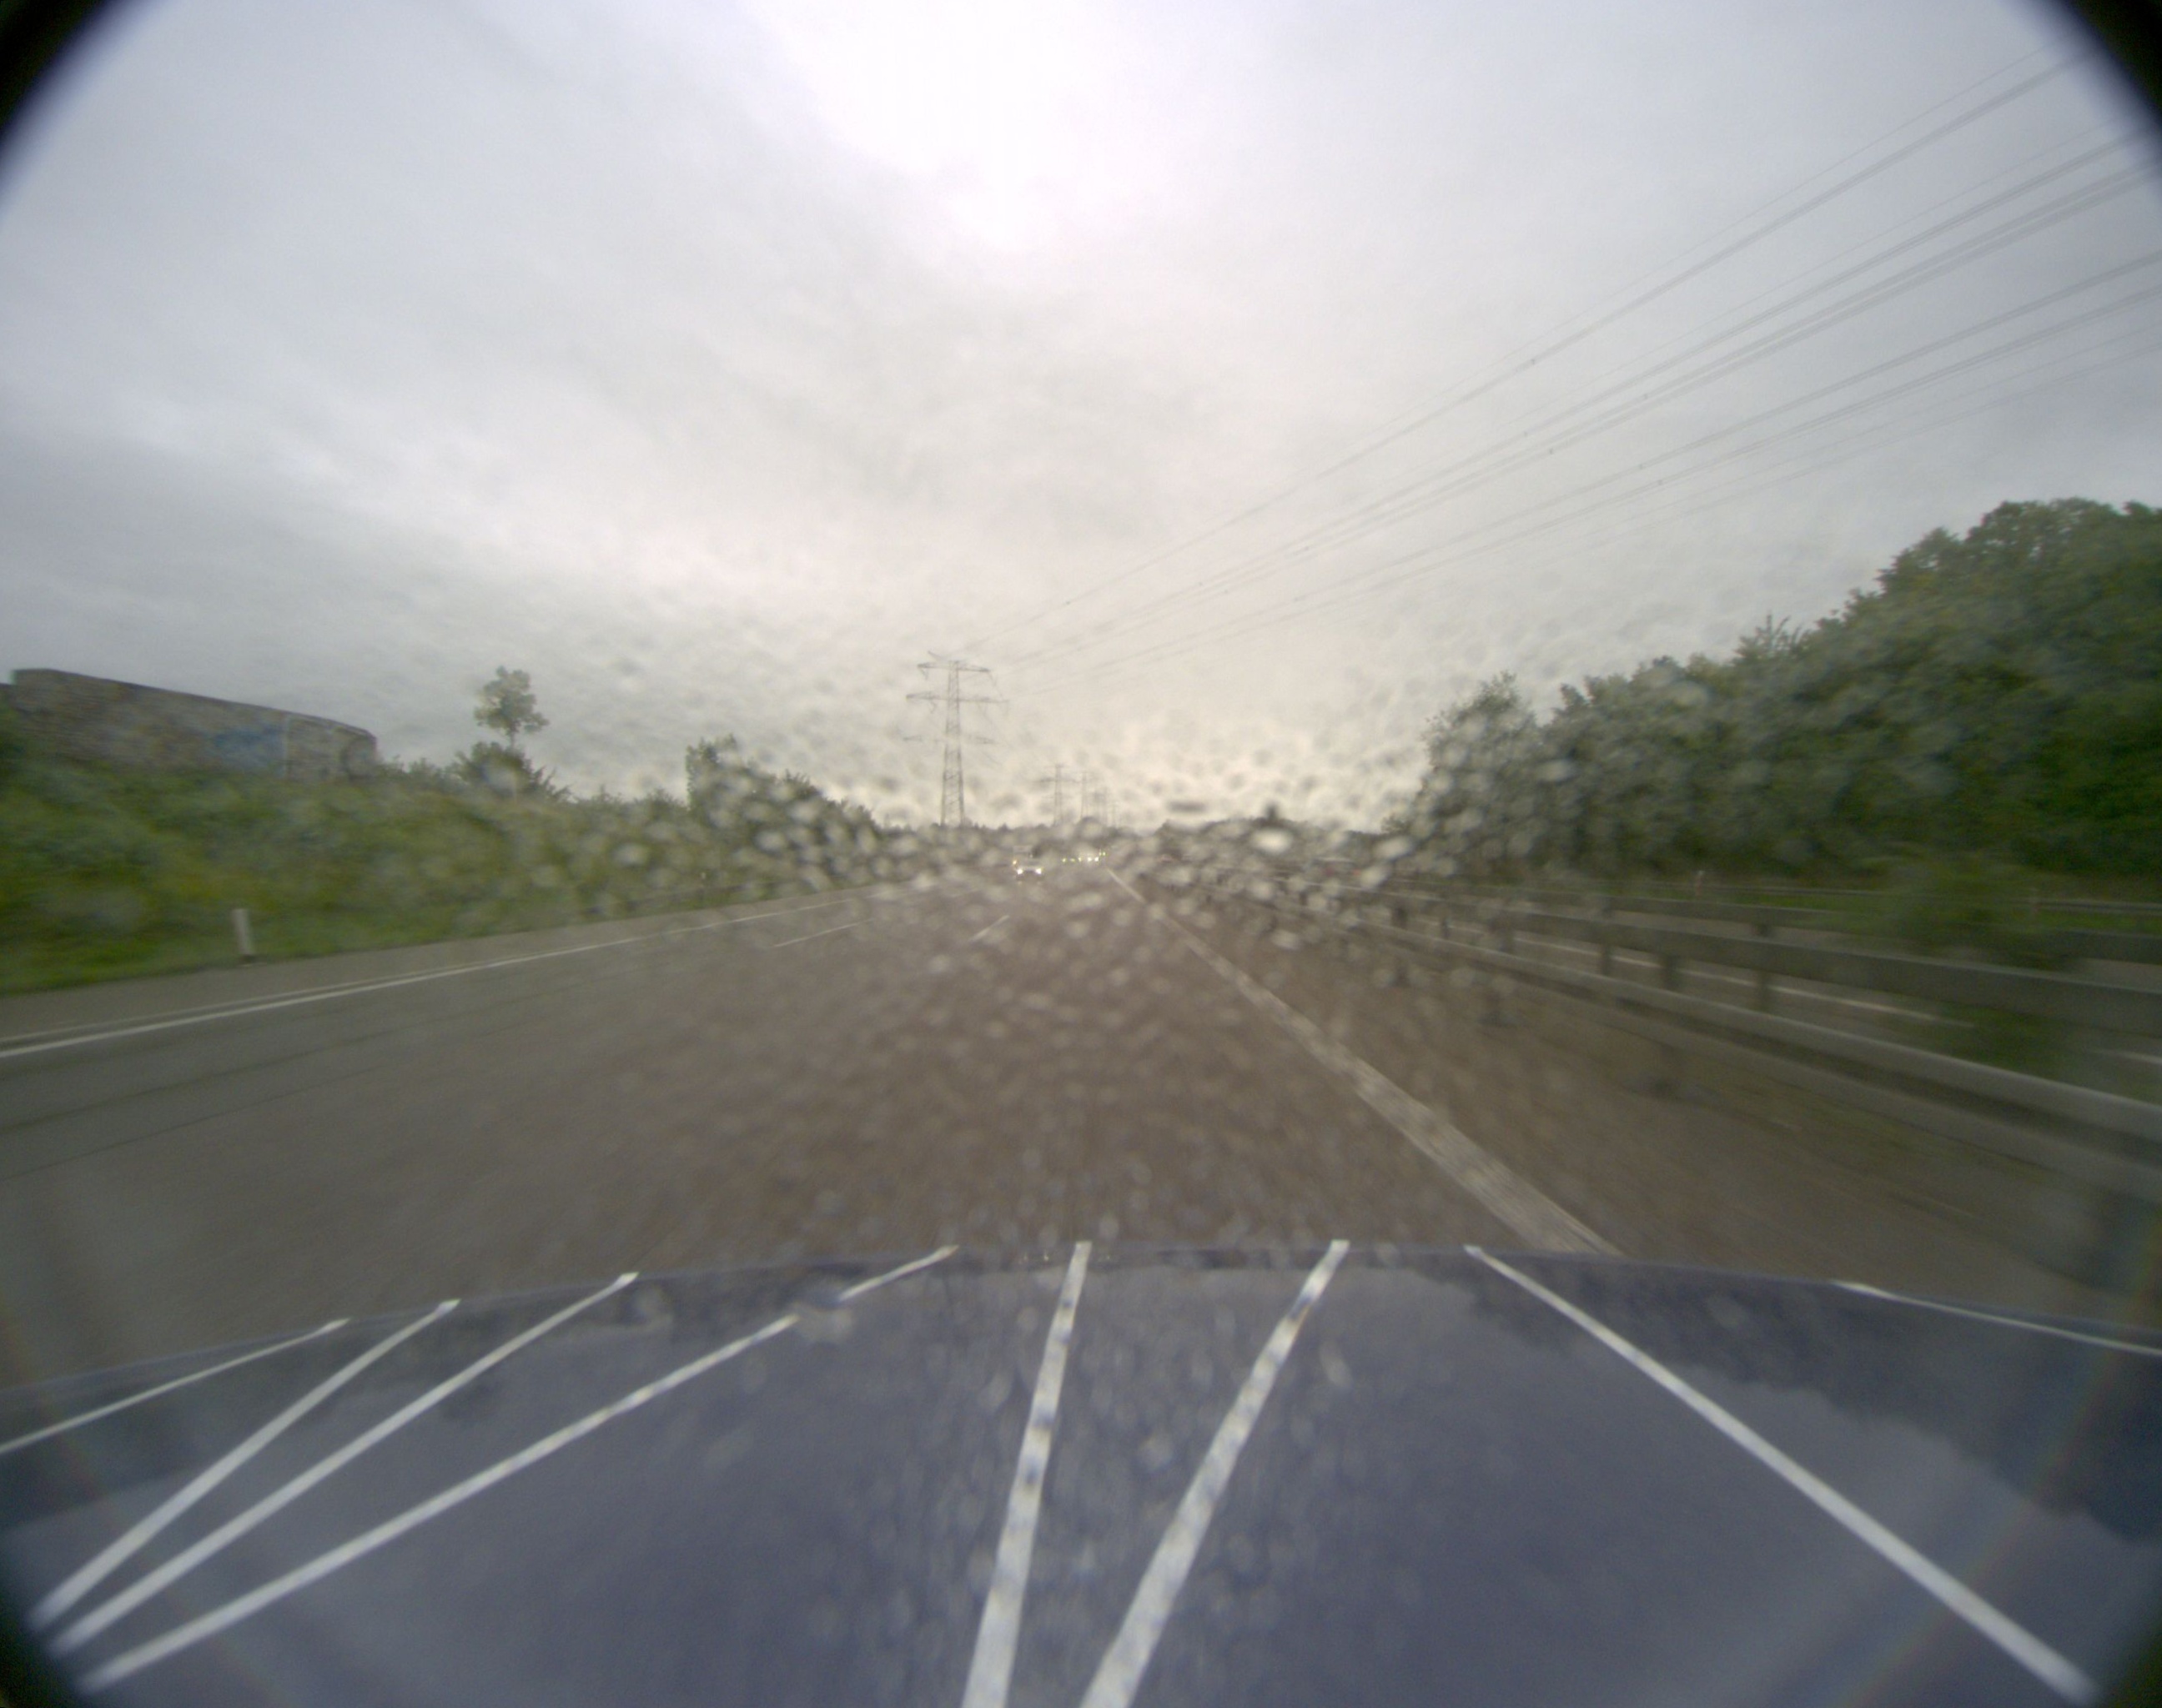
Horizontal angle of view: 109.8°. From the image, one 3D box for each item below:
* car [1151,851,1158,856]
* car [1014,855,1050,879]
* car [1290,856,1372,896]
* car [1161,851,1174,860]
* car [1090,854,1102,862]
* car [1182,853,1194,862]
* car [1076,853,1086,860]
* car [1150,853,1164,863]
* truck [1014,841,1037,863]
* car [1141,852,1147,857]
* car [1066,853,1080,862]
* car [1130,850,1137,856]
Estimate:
[{"bbox_3d":[21.769,-0.234,225.782,1.833,1.490,3.815,0,0,1],"label":"car"},{"bbox_3d":[-3.299,0.862,52.176,1.998,1.418,4.000,-2,1,3],"label":"car"},{"bbox_3d":[10.131,0.836,31.234,1.826,1.503,4.790,0,0,1],"label":"car"},{"bbox_3d":[16.208,0.294,142.121,1.909,1.655,4.714,0,0,1],"label":"car"},{"bbox_3d":[2.824,0.686,141.877,1.998,1.418,4.000,-2,1,3],"label":"car"},{"bbox_3d":[22.312,0.693,158.442,1.954,1.808,4.916,0,0,0],"label":"car"},{"bbox_3d":[-0.050,0.488,163.643,1.856,1.418,4.000,-2,1,3],"label":"car"},{"bbox_3d":[11.986,0.621,119.322,1.761,1.453,4.762,1,0,1],"label":"car"},{"bbox_3d":[-8.750,-0.307,120.931,2.649,3.325,6.931,-2,1,3],"label":"truck"},{"bbox_3d":[19.974,0.116,241.205,1.833,1.490,3.815,0,0,1],"label":"car"},{"bbox_3d":[-1.313,0.526,121.165,1.998,1.418,4.000,-2,1,3],"label":"car"},{"bbox_3d":[15.302,-0.351,219.931,1.833,1.584,3.815,0,0,1],"label":"car"}]
